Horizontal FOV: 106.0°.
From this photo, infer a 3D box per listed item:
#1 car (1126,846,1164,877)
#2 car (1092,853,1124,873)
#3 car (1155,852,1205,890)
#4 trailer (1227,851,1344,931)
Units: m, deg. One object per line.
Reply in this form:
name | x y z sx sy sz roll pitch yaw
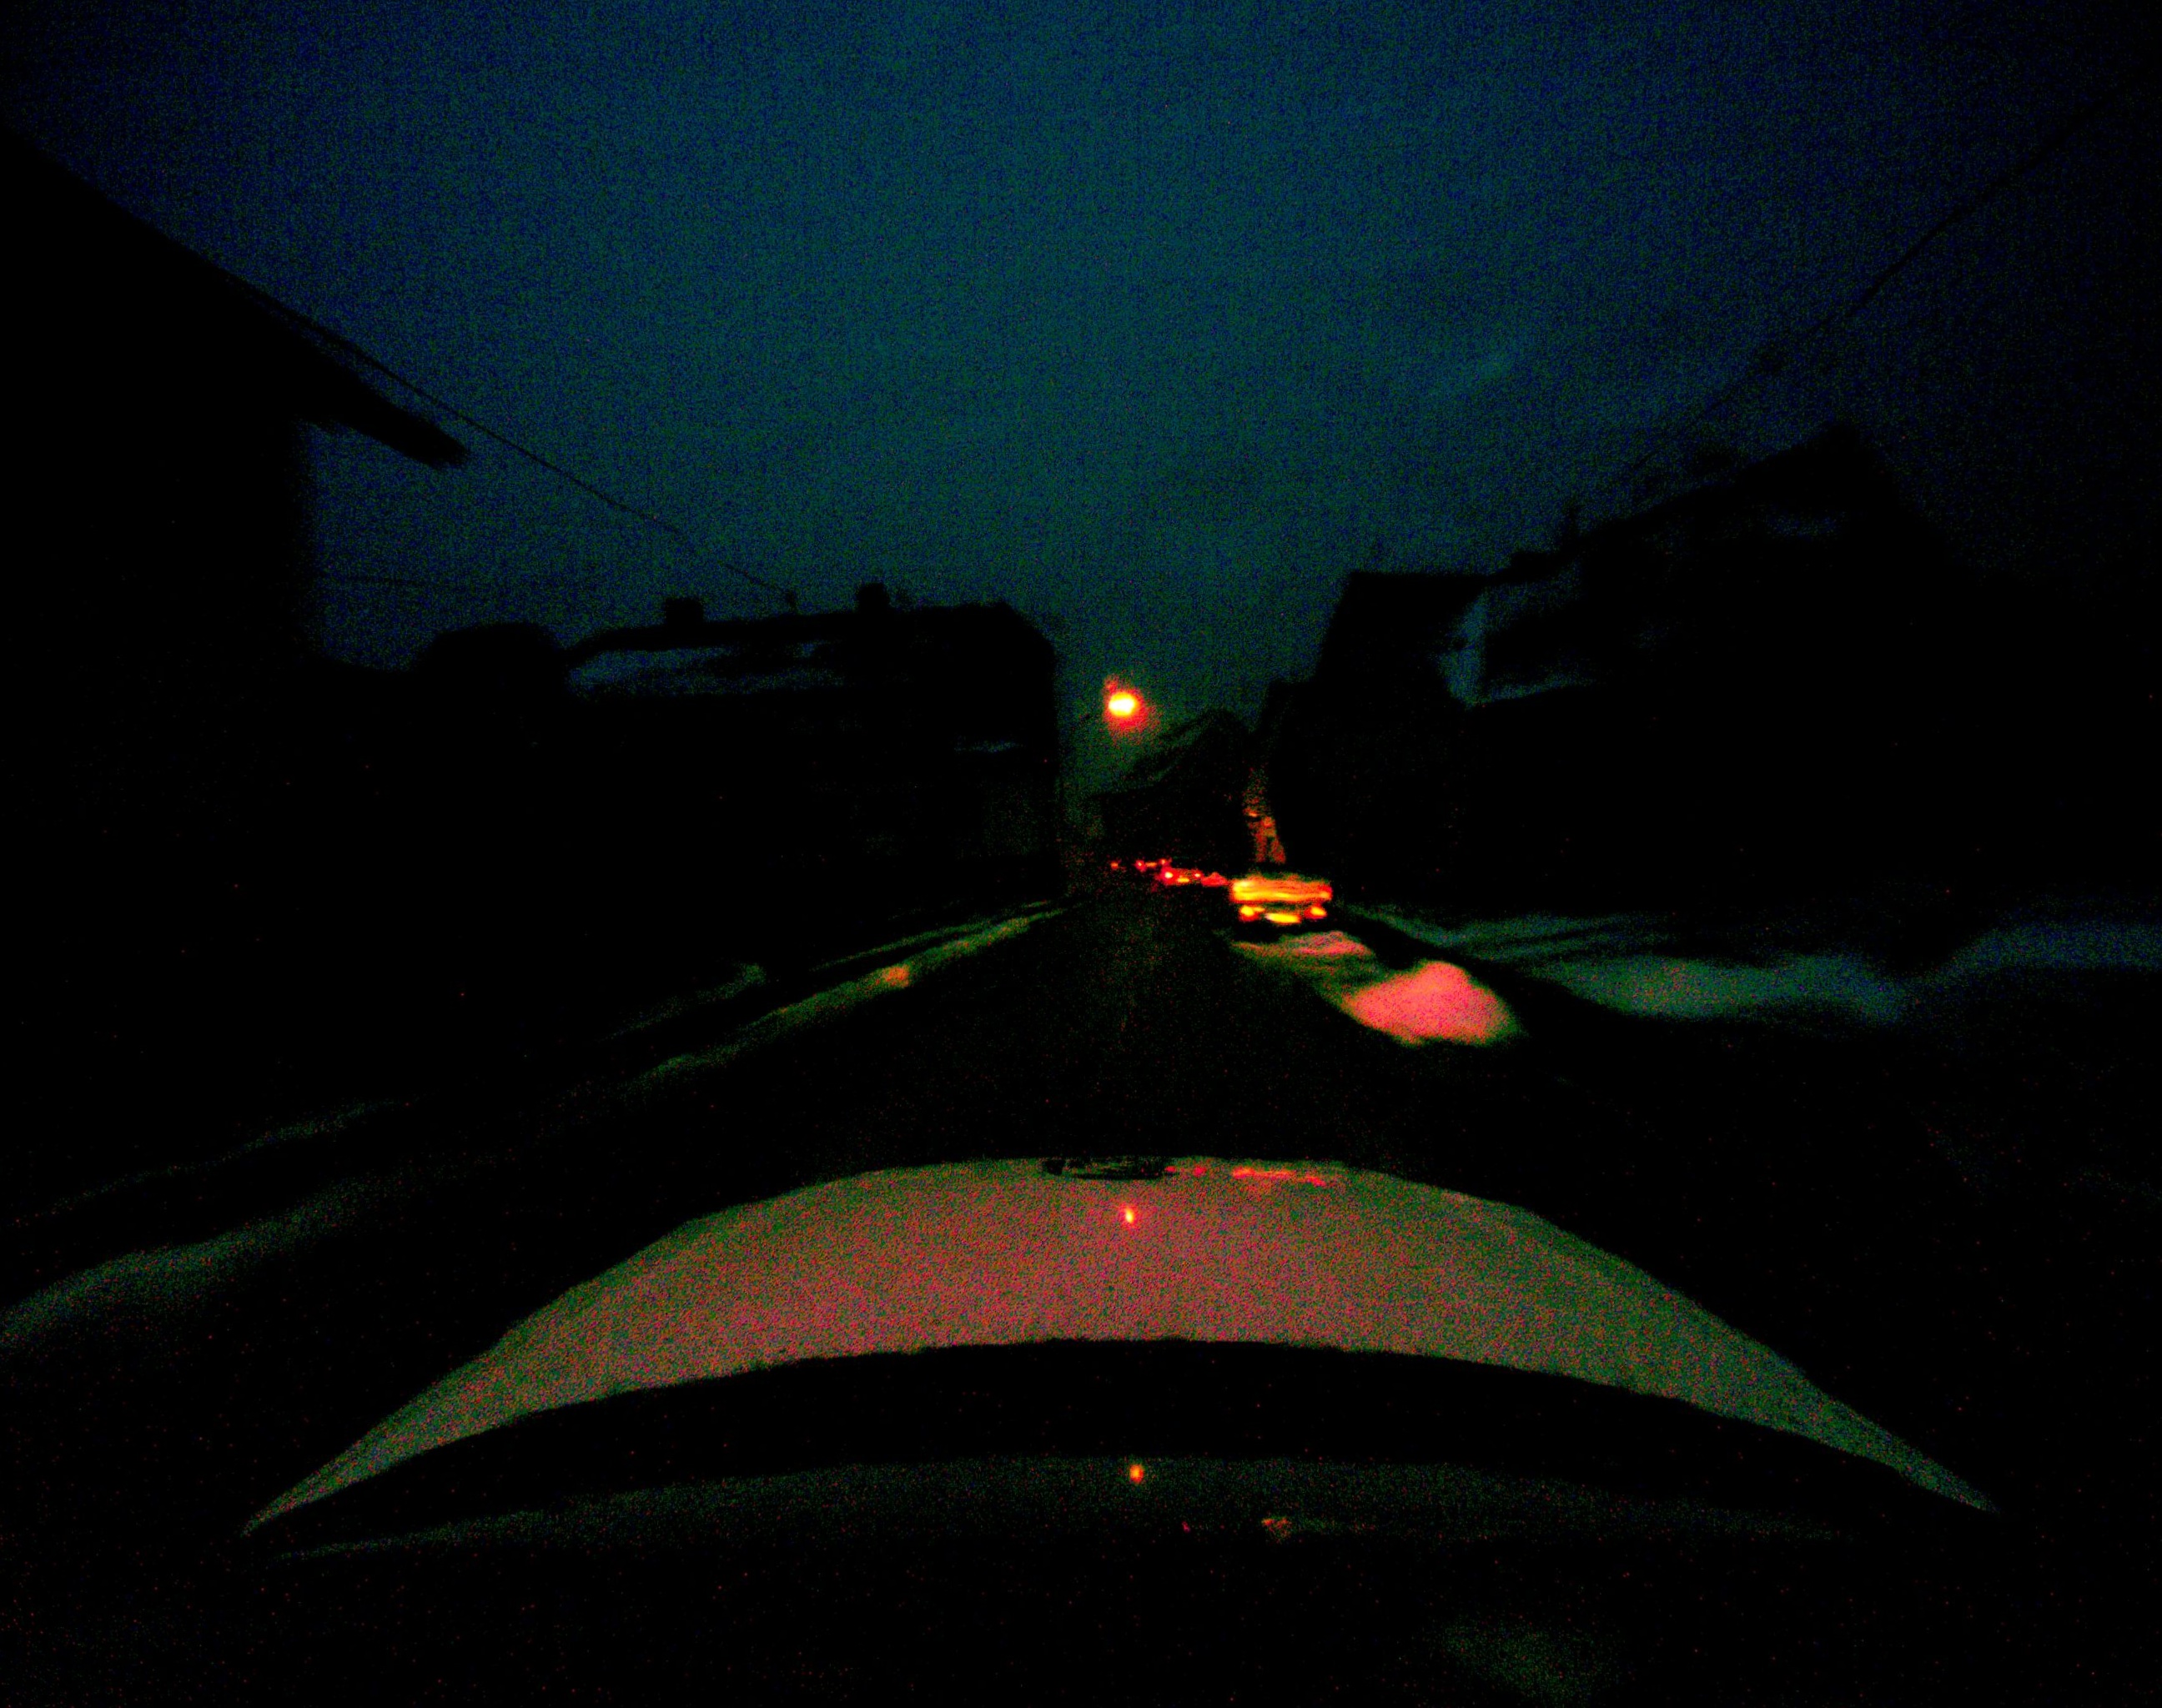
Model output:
car | 3.752 0.489 48.324 1.986 1.728 4.000 -1 -1 1
car | 2.213 0.728 67.347 1.909 1.481 4.270 -3 0 -8
car | 4.216 0.728 34.847 1.983 1.508 4.006 -1 -1 6
trailer | 4.107 0.647 16.670 1.980 1.388 4.748 -1 0 12
